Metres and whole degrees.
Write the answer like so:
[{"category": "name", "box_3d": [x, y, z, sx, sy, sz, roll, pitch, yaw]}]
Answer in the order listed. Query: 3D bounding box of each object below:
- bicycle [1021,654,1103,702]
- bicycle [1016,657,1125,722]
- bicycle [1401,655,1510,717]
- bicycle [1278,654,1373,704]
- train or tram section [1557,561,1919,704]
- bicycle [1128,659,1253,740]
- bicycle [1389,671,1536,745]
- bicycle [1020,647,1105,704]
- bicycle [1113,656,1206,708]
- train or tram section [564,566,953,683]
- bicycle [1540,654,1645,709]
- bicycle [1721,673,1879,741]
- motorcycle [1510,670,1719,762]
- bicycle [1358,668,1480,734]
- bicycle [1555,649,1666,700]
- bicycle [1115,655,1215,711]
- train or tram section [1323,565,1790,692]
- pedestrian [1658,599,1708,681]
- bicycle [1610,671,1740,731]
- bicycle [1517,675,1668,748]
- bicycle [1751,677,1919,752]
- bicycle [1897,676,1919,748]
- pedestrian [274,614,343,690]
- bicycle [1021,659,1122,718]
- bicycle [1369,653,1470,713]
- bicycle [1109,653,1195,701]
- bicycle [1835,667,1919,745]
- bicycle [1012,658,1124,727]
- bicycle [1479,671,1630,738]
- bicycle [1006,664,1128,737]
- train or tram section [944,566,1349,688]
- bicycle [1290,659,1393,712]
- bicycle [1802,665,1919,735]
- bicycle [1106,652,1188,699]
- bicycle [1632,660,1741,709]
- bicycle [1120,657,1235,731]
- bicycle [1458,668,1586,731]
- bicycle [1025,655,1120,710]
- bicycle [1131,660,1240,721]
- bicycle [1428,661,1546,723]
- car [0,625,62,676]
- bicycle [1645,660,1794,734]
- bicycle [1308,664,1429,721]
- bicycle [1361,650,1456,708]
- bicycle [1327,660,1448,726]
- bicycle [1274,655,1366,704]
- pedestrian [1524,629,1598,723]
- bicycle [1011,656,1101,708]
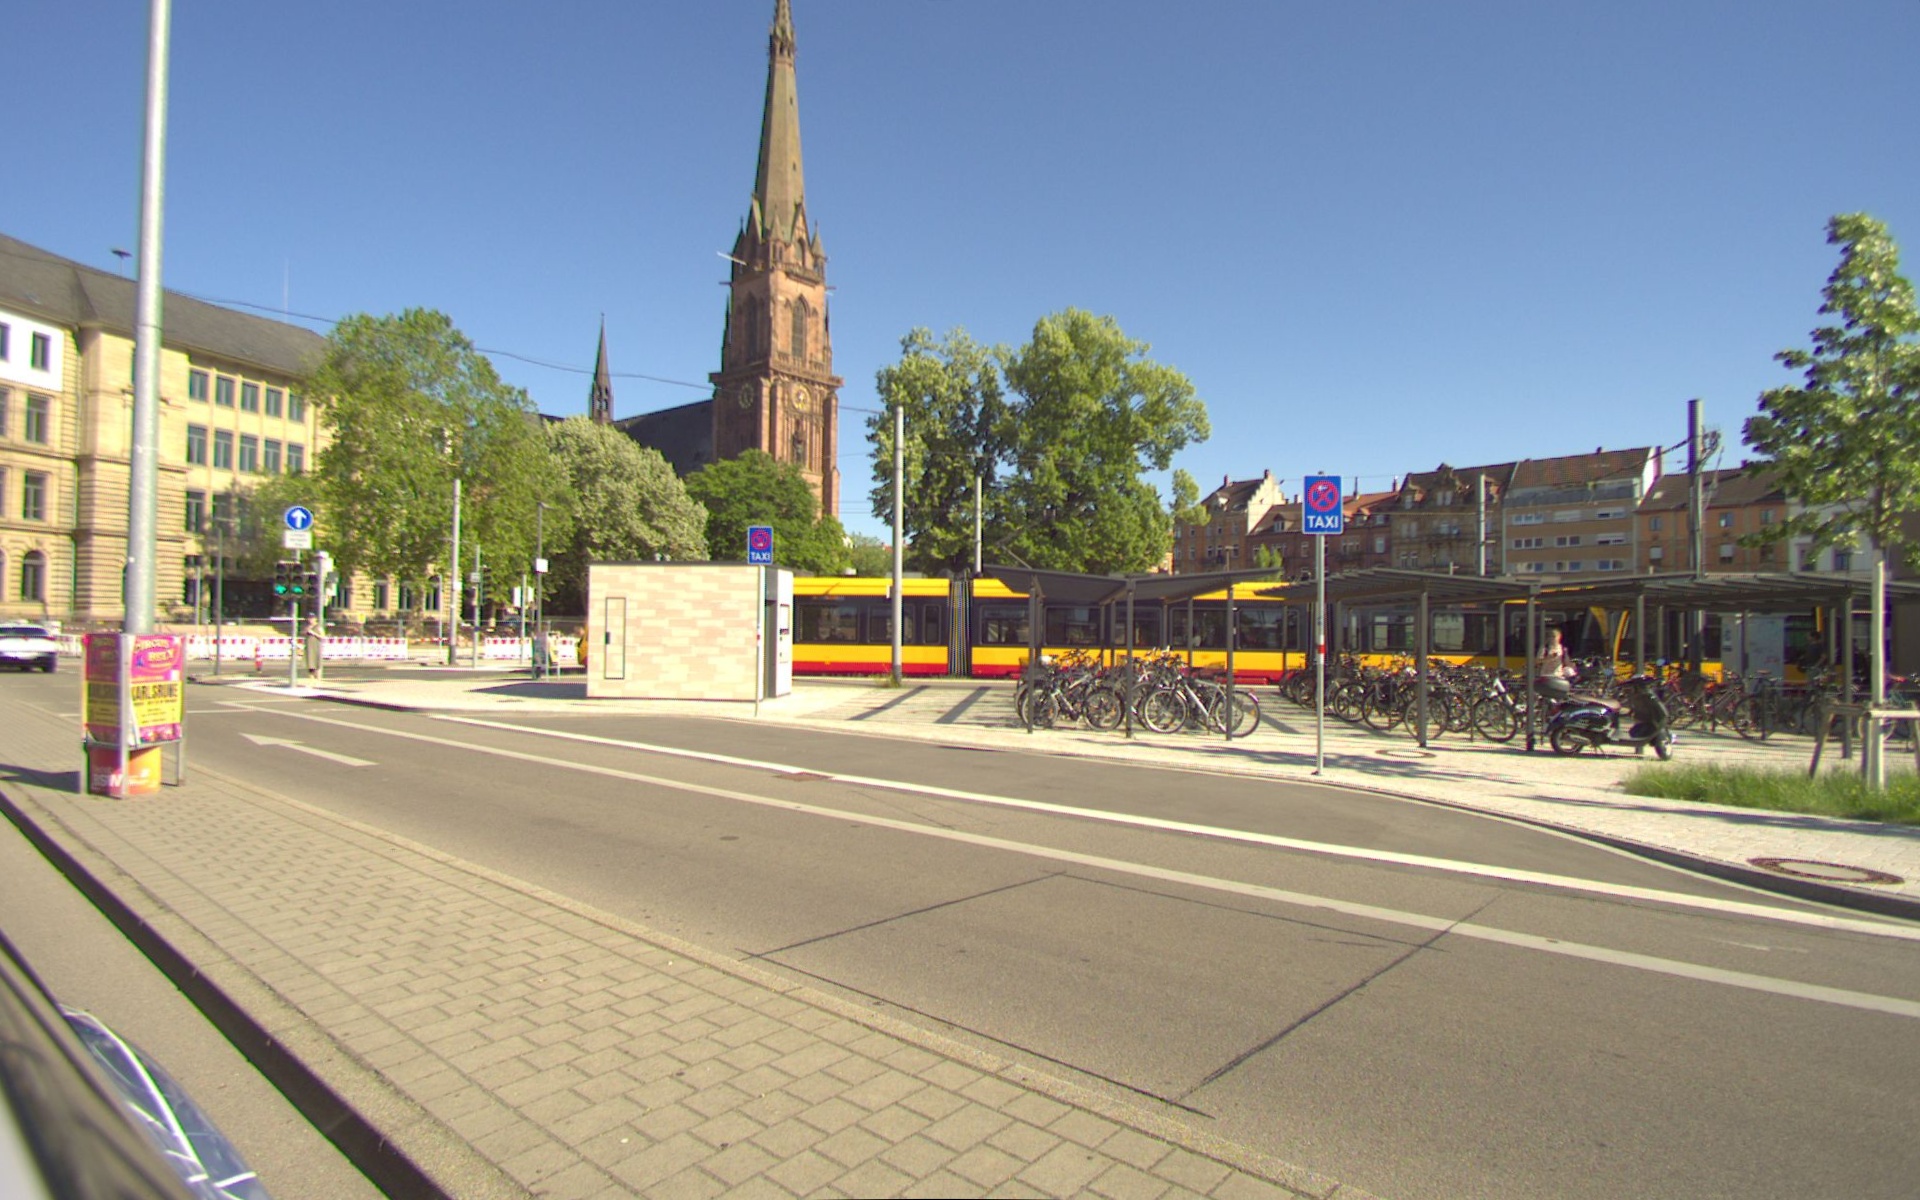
[{"category": "bicycle", "box_3d": [2.290, 1.727, 22.624, 1.809, 1.015, 0.627, 0, -2, 9]}, {"category": "bicycle", "box_3d": [1.887, 1.515, 17.275, 1.809, 1.059, 0.571, 0, -2, 9]}, {"category": "bicycle", "box_3d": [9.783, 1.699, 20.044, 1.808, 1.170, 0.627, 0, -2, 7]}, {"category": "bicycle", "box_3d": [7.793, 1.682, 21.625, 1.807, 1.015, 0.628, 0, -2, 5]}, {"category": "train or tram section", "box_3d": [23.218, 0.856, 27.214, 12.178, 3.629, 2.748, 0, -2, 7]}, {"category": "bicycle", "box_3d": [3.541, 1.521, 15.644, 1.808, 1.167, 0.627, 1, -2, 7]}, {"category": "bicycle", "box_3d": [7.653, 1.631, 15.492, 1.871, 1.050, 0.688, 0, -2, 9]}, {"category": "bicycle", "box_3d": [2.233, 1.623, 21.924, 1.809, 1.188, 0.627, 0, -2, 9]}, {"category": "bicycle", "box_3d": [4.049, 1.657, 20.634, 1.808, 1.015, 0.627, 0, -2, 7]}, {"category": "train or tram section", "box_3d": [-6.530, 0.788, 33.568, 12.382, 3.629, 2.796, 0, -2, 6]}, {"category": "bicycle", "box_3d": [13.672, 1.759, 21.922, 1.809, 1.140, 0.627, 0, -2, 9]}, {"category": "bicycle", "box_3d": [13.279, 1.682, 16.044, 1.872, 1.004, 0.499, 0, -2, 13]}, {"category": "motorcycle", "box_3d": [8.845, 1.553, 13.748, 2.333, 1.167, 0.610, 0, -2, 7]}, {"category": "bicycle", "box_3d": [7.528, 1.641, 16.646, 1.731, 1.015, 0.547, 0, -2, 10]}, {"category": "bicycle", "box_3d": [13.358, 1.522, 20.826, 1.809, 1.015, 0.627, 0, -2, 9]}, {"category": "bicycle", "box_3d": [3.902, 1.578, 19.359, 1.808, 1.015, 0.627, 0, -2, 7]}, {"category": "train or tram section", "box_3d": [17.787, 0.832, 31.008, 12.174, 3.629, 2.828, 0, -2, 6]}, {"category": "pedestrian", "box_3d": [16.732, 0.921, 23.422, 0.700, 1.869, 0.751, 2, -2, -38]}, {"category": "bicycle", "box_3d": [12.936, 1.816, 18.359, 1.809, 1.015, 0.627, 0, -2, 9]}, {"category": "bicycle", "box_3d": [9.444, 1.653, 15.166, 1.808, 1.015, 0.627, 0, -2, 7]}, {"category": "bicycle", "box_3d": [12.835, 1.662, 14.867, 1.809, 1.015, 0.627, 0, -2, 9]}, {"category": "bicycle", "box_3d": [14.697, 1.629, 14.597, 1.803, 1.015, 0.629, 0, -2, -3]}, {"category": "pedestrian", "box_3d": [-16.465, 1.299, 25.599, 0.826, 1.869, 1.215, -1, -2, 35]}, {"category": "bicycle", "box_3d": [2.034, 1.608, 18.494, 1.809, 1.015, 0.627, 0, -2, 9]}, {"category": "bicycle", "box_3d": [9.600, 1.722, 21.194, 1.808, 1.198, 0.647, 0, -2, 7]}, {"category": "bicycle", "box_3d": [4.181, 1.674, 22.120, 1.808, 1.015, 0.627, 0, -2, 7]}, {"category": "bicycle", "box_3d": [14.667, 1.623, 15.584, 1.804, 1.155, 0.629, 0, -2, 0]}, {"category": "bicycle", "box_3d": [1.791, 1.509, 16.746, 1.809, 1.074, 0.627, 0, -2, 9]}, {"category": "bicycle", "box_3d": [9.595, 1.680, 16.392, 2.003, 1.015, 0.627, 0, -2, 7]}, {"category": "bicycle", "box_3d": [1.680, 1.554, 15.871, 1.847, 1.015, 0.699, 1, -2, 9]}, {"category": "train or tram section", "box_3d": [5.694, 0.830, 32.290, 12.174, 3.629, 2.796, 0, -2, 6]}, {"category": "bicycle", "box_3d": [7.642, 1.716, 20.320, 1.805, 1.015, 0.629, 0, -2, 0]}, {"category": "bicycle", "box_3d": [15.265, 1.652, 16.880, 1.808, 1.101, 0.627, 0, -2, 7]}, {"category": "bicycle", "box_3d": [4.302, 1.730, 23.320, 1.808, 1.015, 0.627, 0, -2, 7]}, {"category": "bicycle", "box_3d": [15.724, 1.820, 21.926, 1.808, 1.015, 0.627, 0, -2, 7]}, {"category": "bicycle", "box_3d": [3.584, 1.544, 16.786, 1.808, 1.157, 0.627, 0, -2, 7]}, {"category": "bicycle", "box_3d": [9.675, 1.700, 17.486, 1.808, 1.015, 0.627, 0, -2, 7]}, {"category": "bicycle", "box_3d": [2.185, 1.589, 19.649, 1.809, 1.015, 0.627, 0, -2, 9]}, {"category": "bicycle", "box_3d": [3.995, 1.602, 18.052, 1.808, 1.015, 0.745, 0, -2, 7]}, {"category": "bicycle", "box_3d": [9.748, 1.699, 18.778, 1.808, 1.088, 0.627, 0, -2, 7]}, {"category": "car", "box_3d": [-30.517, 1.595, 32.524, 4.332, 1.564, 1.823, -1, -4, 40]}, {"category": "bicycle", "box_3d": [12.972, 1.645, 17.319, 2.029, 1.218, 0.505, 0, -2, 8]}, {"category": "bicycle", "box_3d": [7.622, 1.719, 18.945, 1.978, 1.015, 0.628, 0, -2, 4]}, {"category": "bicycle", "box_3d": [9.907, 1.740, 22.392, 1.808, 1.242, 0.627, 0, -2, 7]}, {"category": "bicycle", "box_3d": [7.550, 1.639, 17.924, 1.859, 1.101, 0.626, 0, -2, 8]}, {"category": "bicycle", "box_3d": [7.922, 1.747, 22.312, 1.808, 1.015, 0.627, 0, -2, 6]}, {"category": "pedestrian", "box_3d": [11.382, 1.419, 19.200, 0.829, 1.718, 1.022, 0, -2, 7]}, {"category": "bicycle", "box_3d": [1.961, 1.666, 20.680, 1.809, 1.015, 0.627, 0, -2, 9]}]
